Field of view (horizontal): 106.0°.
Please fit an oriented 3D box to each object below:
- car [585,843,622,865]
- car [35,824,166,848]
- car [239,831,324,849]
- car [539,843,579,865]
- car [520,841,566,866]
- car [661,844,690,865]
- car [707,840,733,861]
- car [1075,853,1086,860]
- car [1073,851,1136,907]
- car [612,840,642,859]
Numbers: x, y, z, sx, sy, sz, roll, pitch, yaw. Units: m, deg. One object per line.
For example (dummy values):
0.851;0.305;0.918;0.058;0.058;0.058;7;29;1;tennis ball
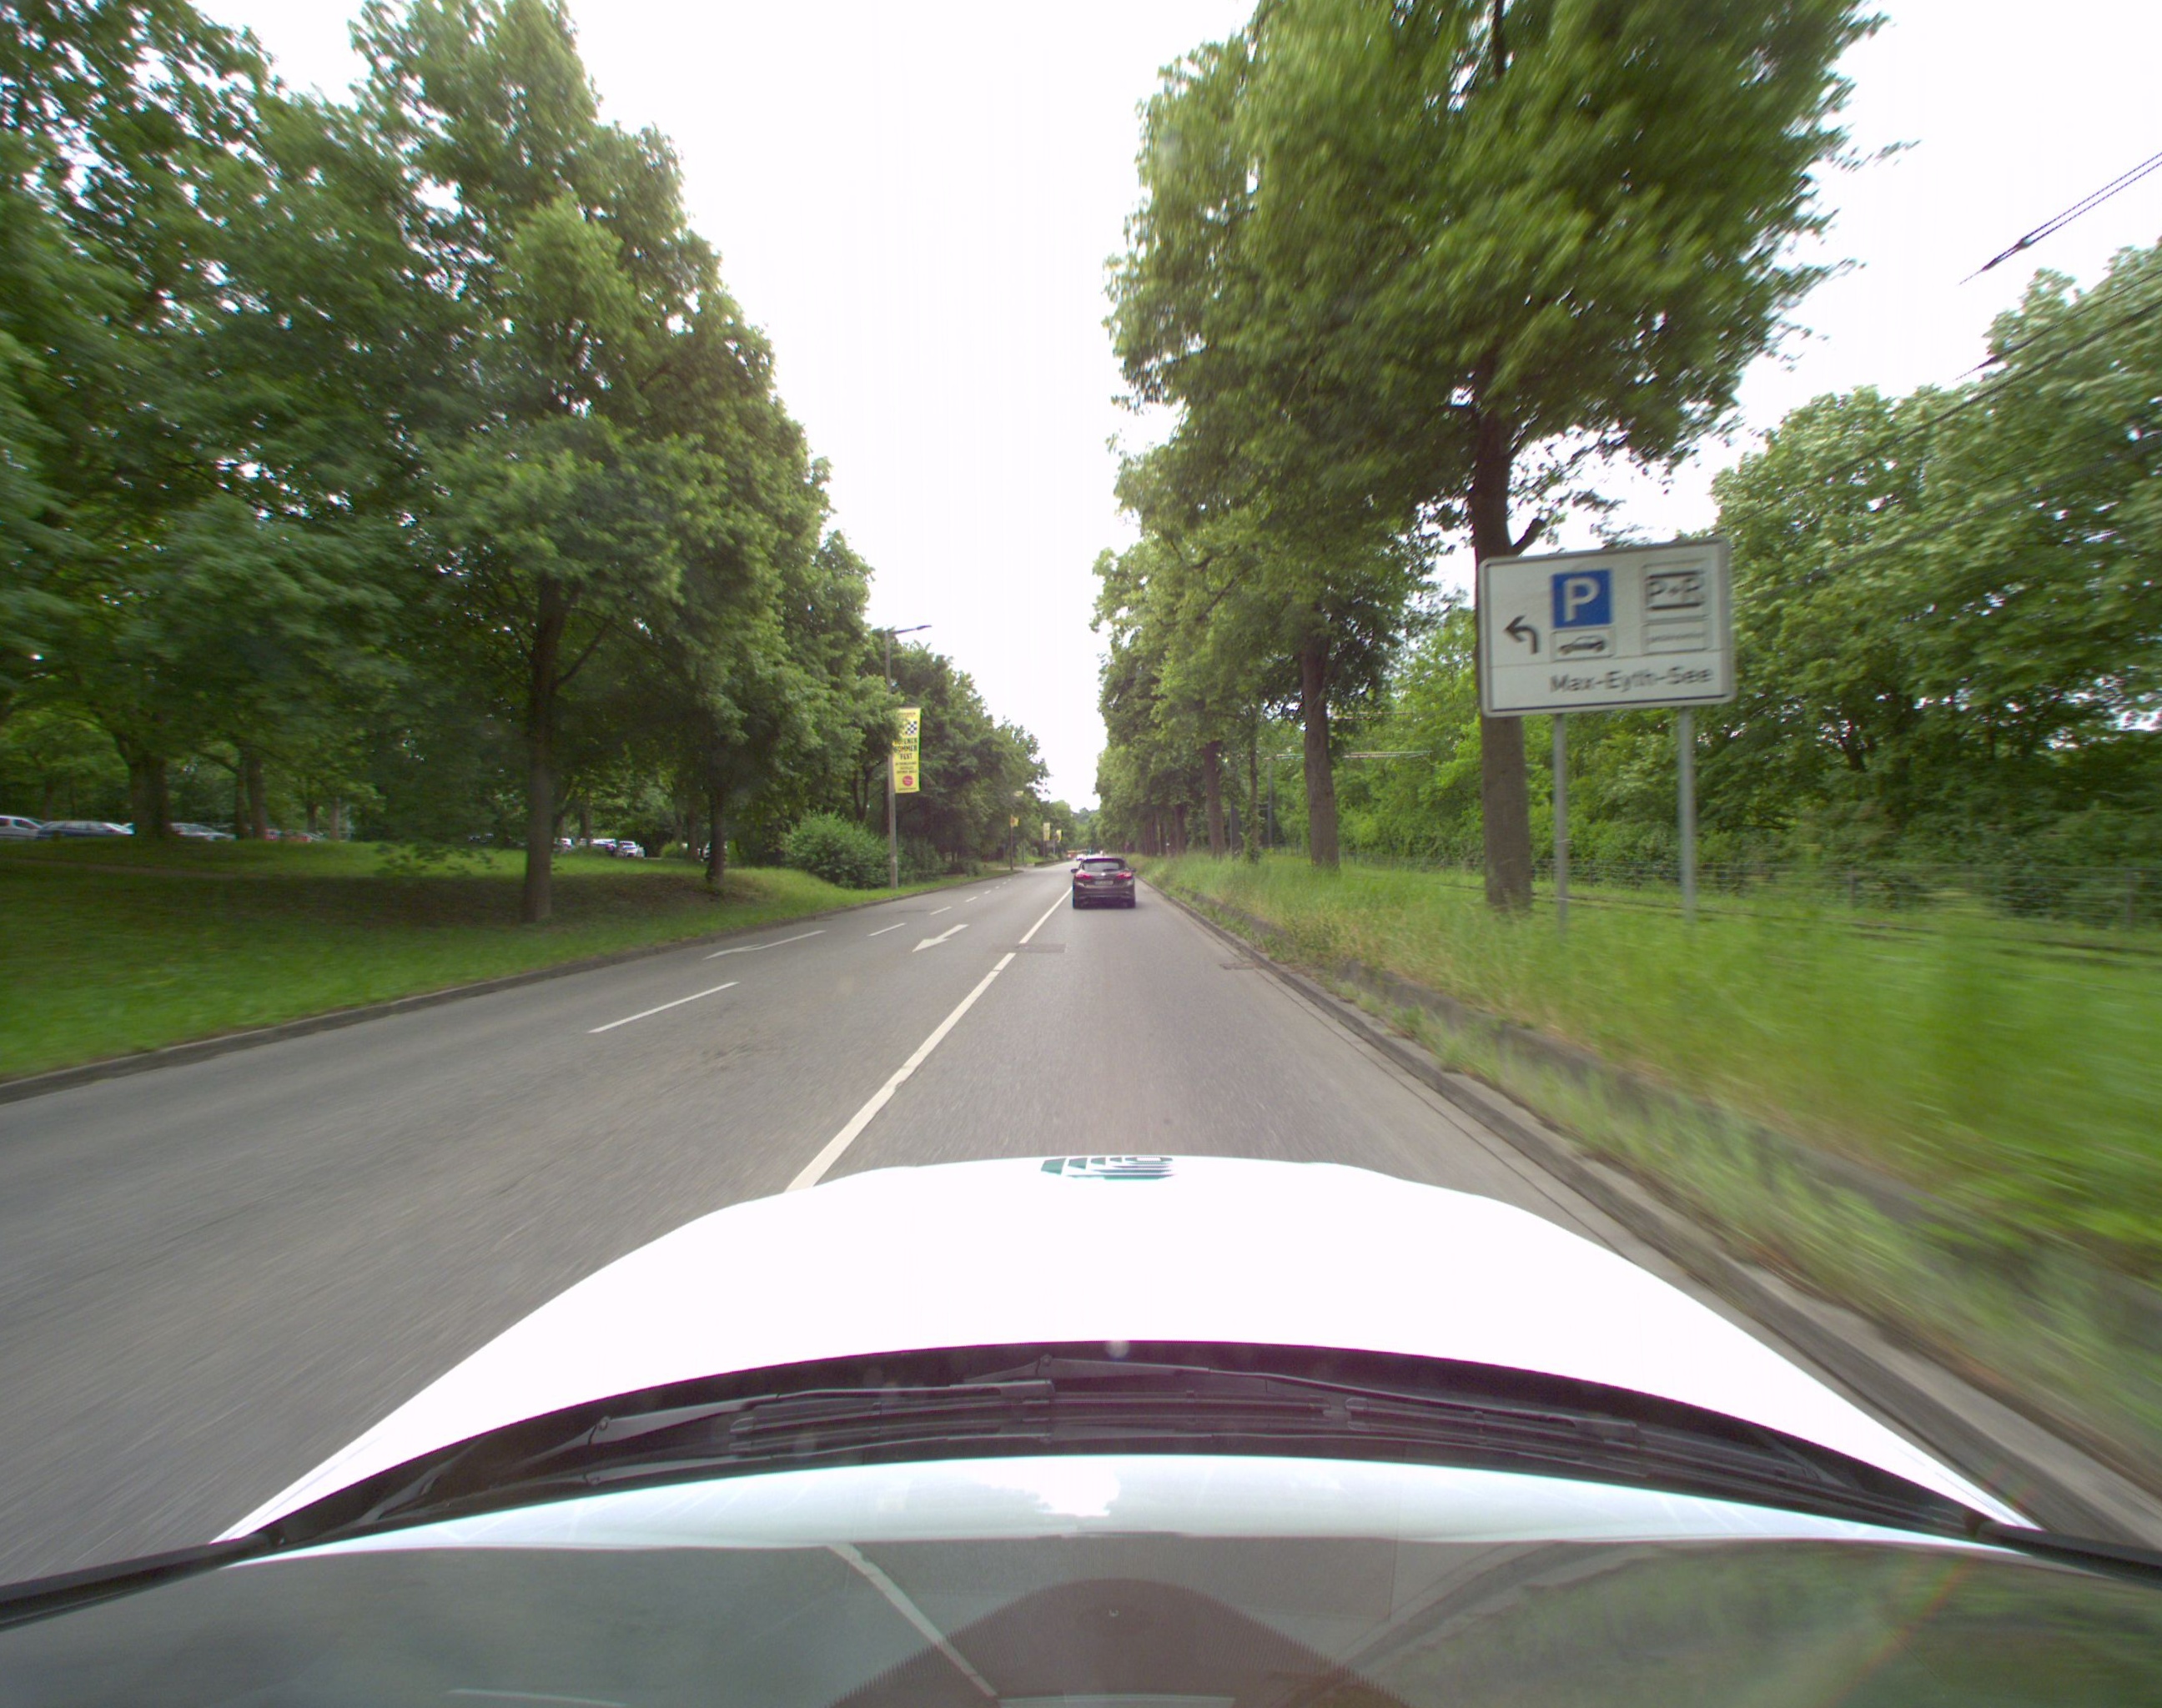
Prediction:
-33.047;0.022;56.425;1.653;1.486;3.970;0;0;-22;car
-51.994;-0.915;43.289;3.990;1.210;1.888;0;-1;-24;car
-58.545;-1.013;59.731;3.990;1.210;1.888;0;-1;-24;car
-35.857;0.031;56.019;1.653;1.486;3.970;0;0;-22;car
-33.460;-0.013;50.759;1.653;1.486;3.970;0;0;-22;car
-29.617;0.027;59.546;1.653;1.486;3.970;0;0;-22;car
-26.838;-0.218;60.603;1.653;1.486;3.970;0;0;-22;car
-0.081;0.571;176.750;1.707;1.428;4.205;-3;0;7;car
0.676;0.698;23.999;1.724;1.537;3.552;0;0;1;car
-37.485;-0.374;67.324;1.653;1.486;3.970;0;0;-22;car
